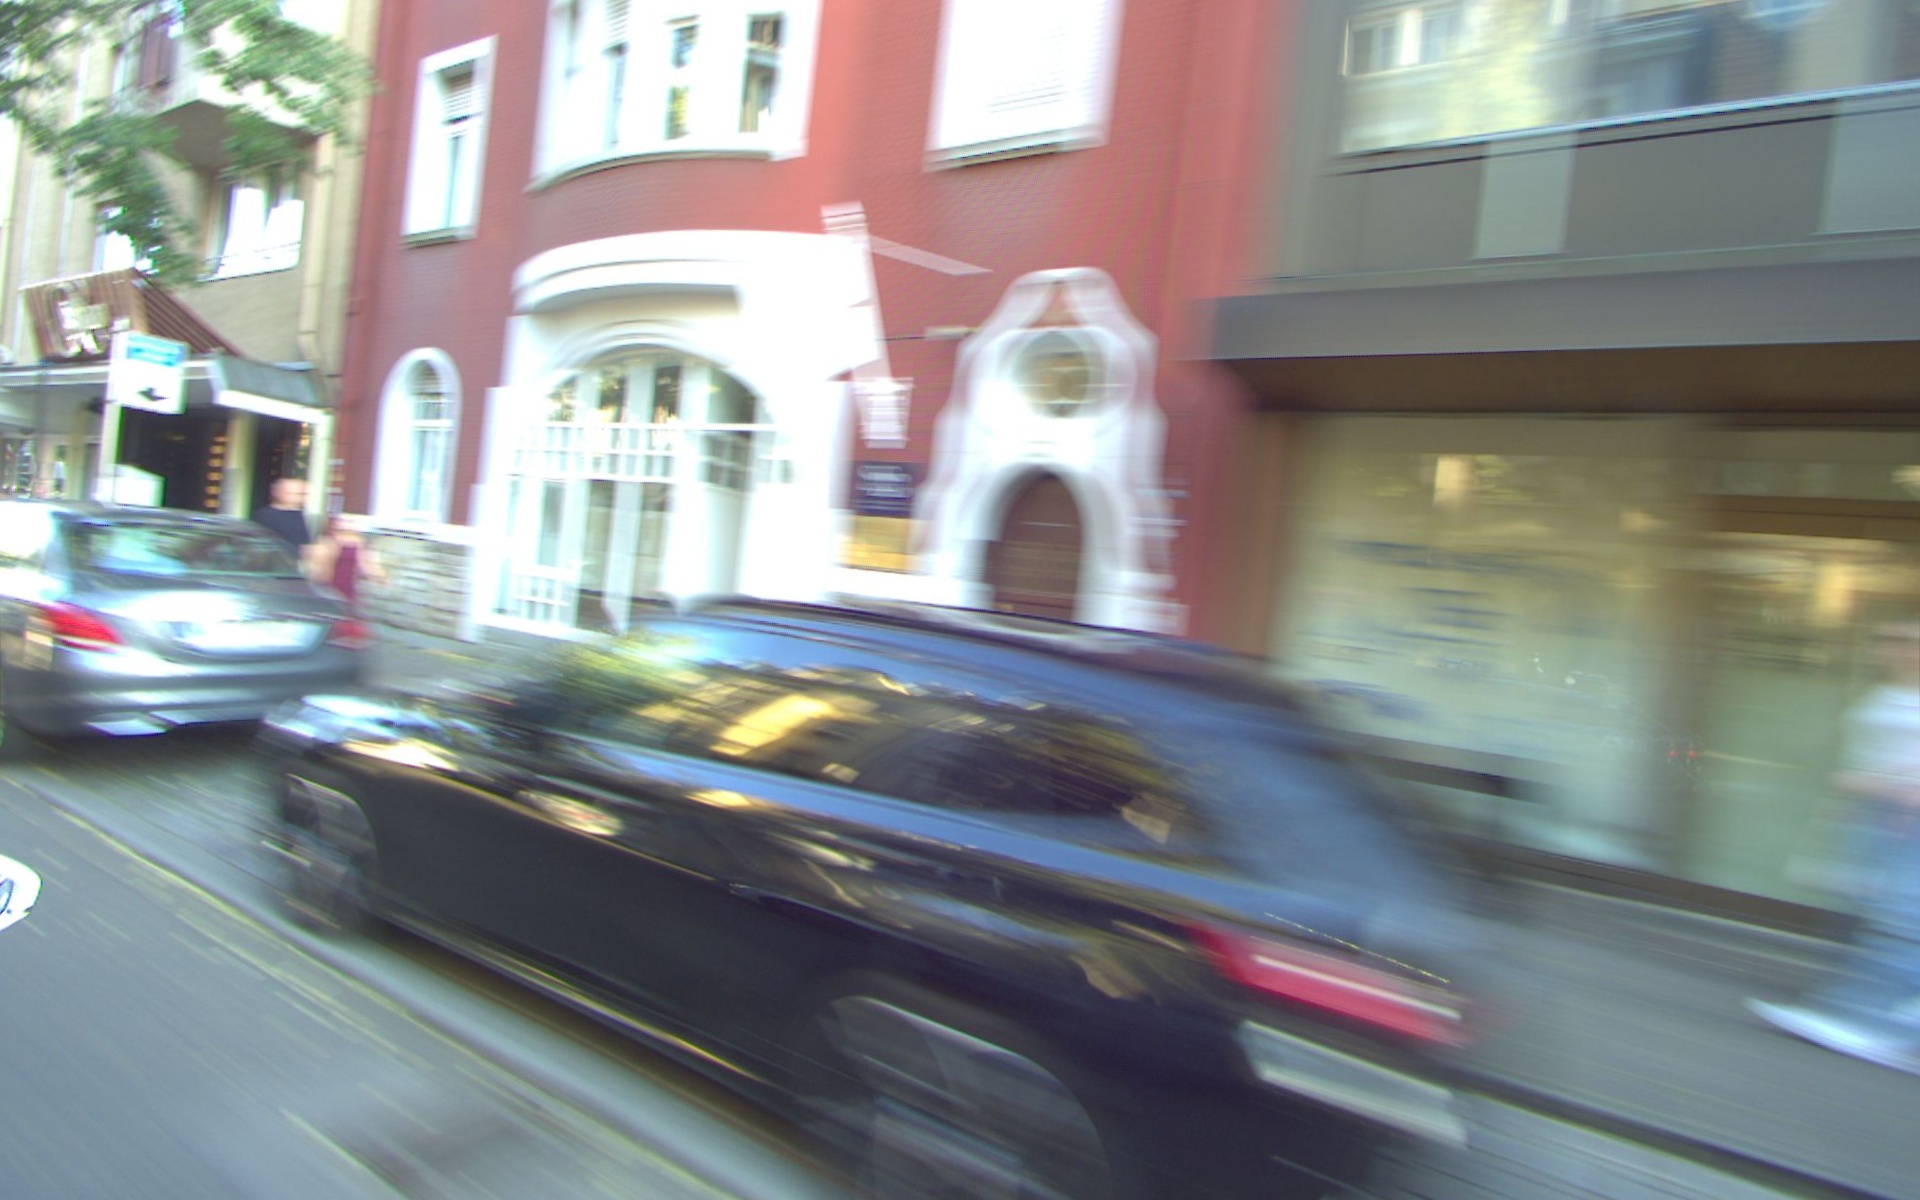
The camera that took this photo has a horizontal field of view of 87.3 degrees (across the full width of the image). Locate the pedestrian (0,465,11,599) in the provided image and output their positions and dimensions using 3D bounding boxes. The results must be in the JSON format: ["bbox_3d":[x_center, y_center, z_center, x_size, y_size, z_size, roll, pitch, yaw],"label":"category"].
[{"bbox_3d":[-12.144,-0.874,12.191,0.782,1.620,0.708,7,3,32],"label":"pedestrian"}]

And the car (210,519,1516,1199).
[{"bbox_3d":[-0.605,0.662,3.580,4.344,1.490,1.775,7,2,31],"label":"car"}]

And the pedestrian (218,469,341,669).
[{"bbox_3d":[-6.113,-0.269,9.040,0.630,1.699,0.624,7,2,32],"label":"pedestrian"}]

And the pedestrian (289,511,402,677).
[{"bbox_3d":[-5.935,-0.057,9.722,0.630,1.508,0.624,7,2,32],"label":"pedestrian"}]

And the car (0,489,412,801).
[{"bbox_3d":[-6.009,0.039,6.962,4.919,1.459,1.774,7,2,34],"label":"car"}]

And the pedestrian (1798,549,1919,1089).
[{"bbox_3d":[3.834,0.814,3.641,0.960,1.894,0.625,7,4,32],"label":"pedestrian"}]

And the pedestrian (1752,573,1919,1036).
[{"bbox_3d":[4.048,0.844,4.277,0.822,1.834,0.589,7,4,32],"label":"pedestrian"}]

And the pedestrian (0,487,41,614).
[{"bbox_3d":[-10.482,-0.553,10.960,0.430,1.363,0.547,7,3,32],"label":"pedestrian"}]

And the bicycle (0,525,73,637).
[{"bbox_3d":[-9.522,-0.229,9.990,1.681,0.996,0.386,7,1,26],"label":"bicycle"}]

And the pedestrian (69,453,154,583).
[{"bbox_3d":[-13.409,-1.291,15.904,0.865,1.908,0.797,9,3,41],"label":"pedestrian"}]
